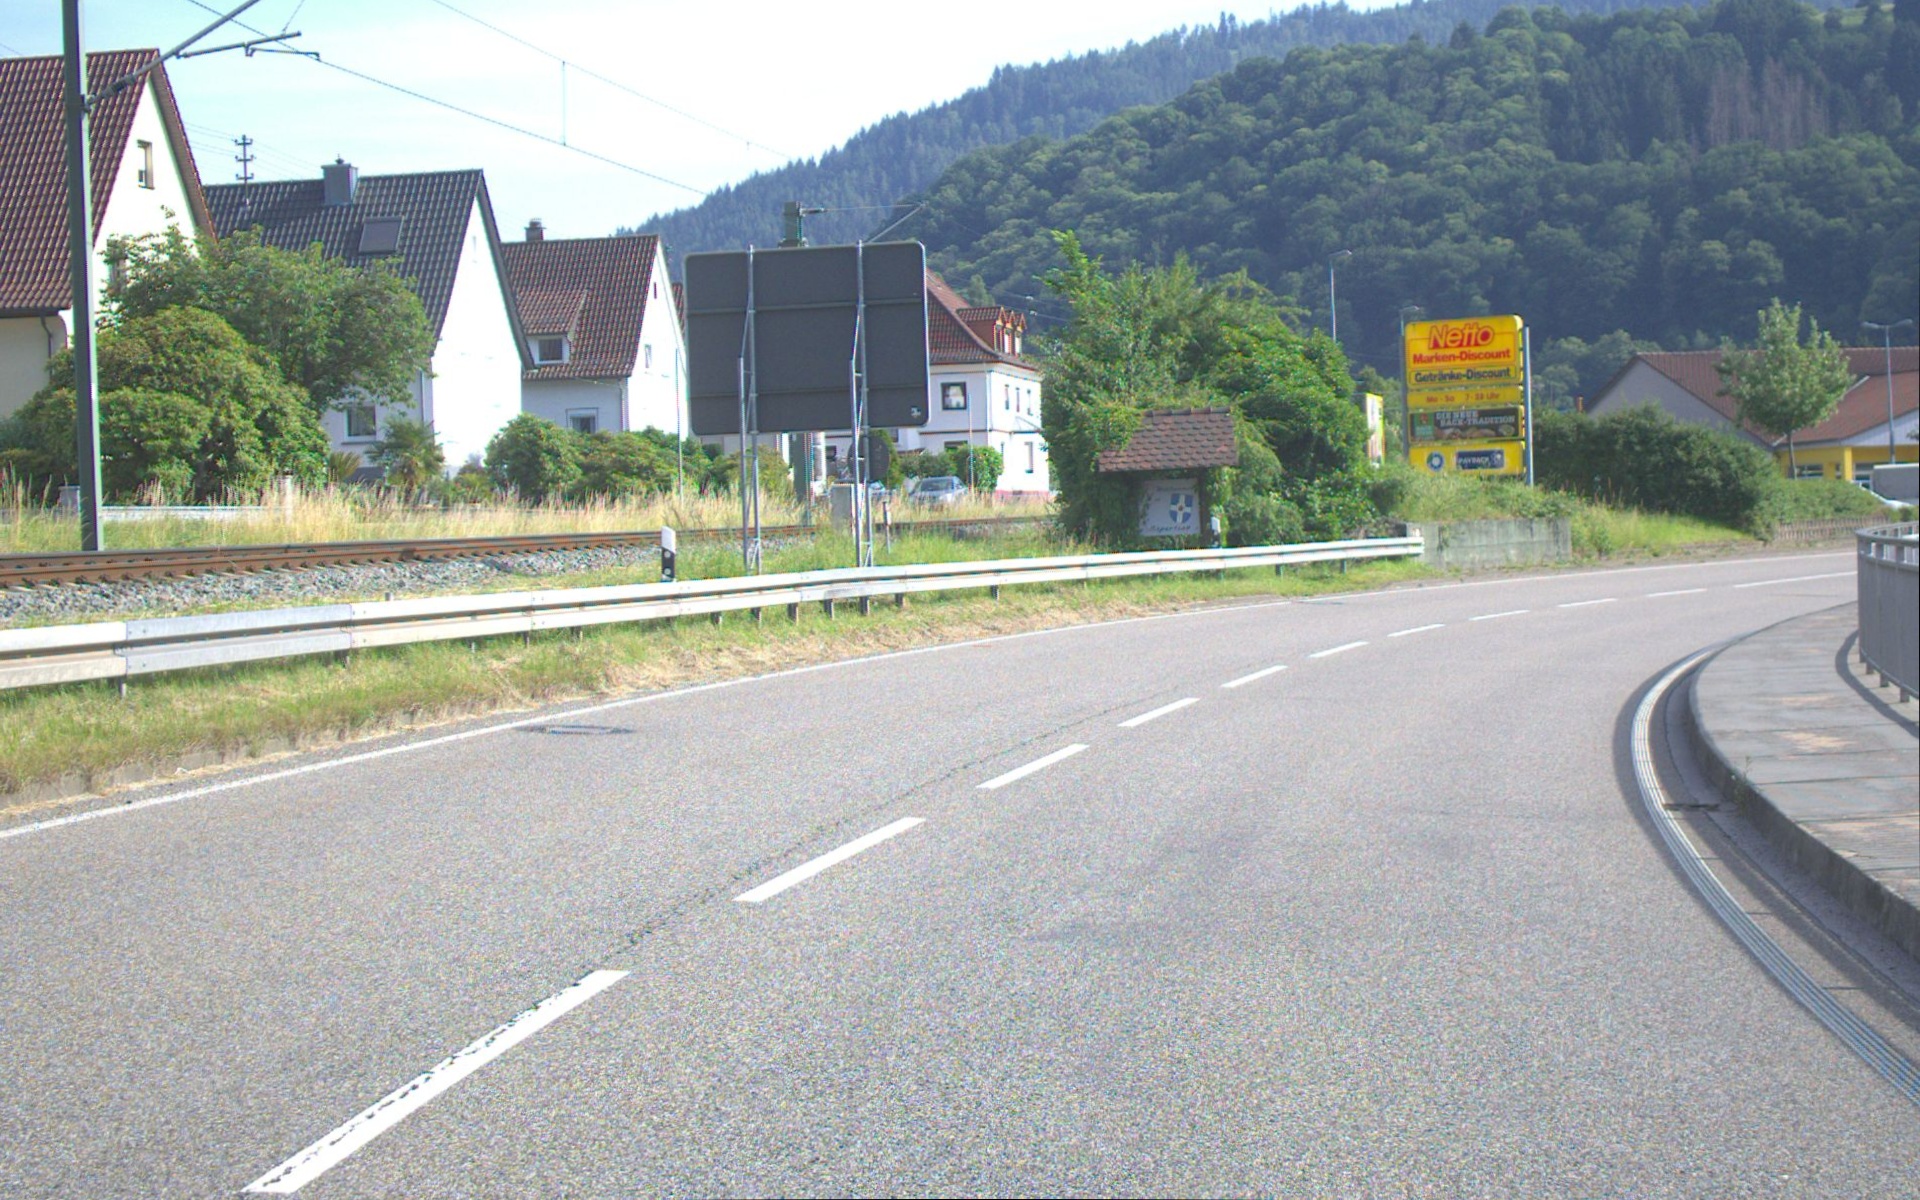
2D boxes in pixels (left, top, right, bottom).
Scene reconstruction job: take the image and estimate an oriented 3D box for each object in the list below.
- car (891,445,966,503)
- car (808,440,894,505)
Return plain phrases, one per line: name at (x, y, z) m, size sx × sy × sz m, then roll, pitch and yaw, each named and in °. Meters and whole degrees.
car at (-1.144, -4.610, 126.231) m, size 1.994 × 1.875 × 3.999 m, roll 6°, pitch 2°, yaw 8°
car at (-3.545, -4.164, 112.744) m, size 1.994 × 1.875 × 3.999 m, roll 6°, pitch 2°, yaw 8°
